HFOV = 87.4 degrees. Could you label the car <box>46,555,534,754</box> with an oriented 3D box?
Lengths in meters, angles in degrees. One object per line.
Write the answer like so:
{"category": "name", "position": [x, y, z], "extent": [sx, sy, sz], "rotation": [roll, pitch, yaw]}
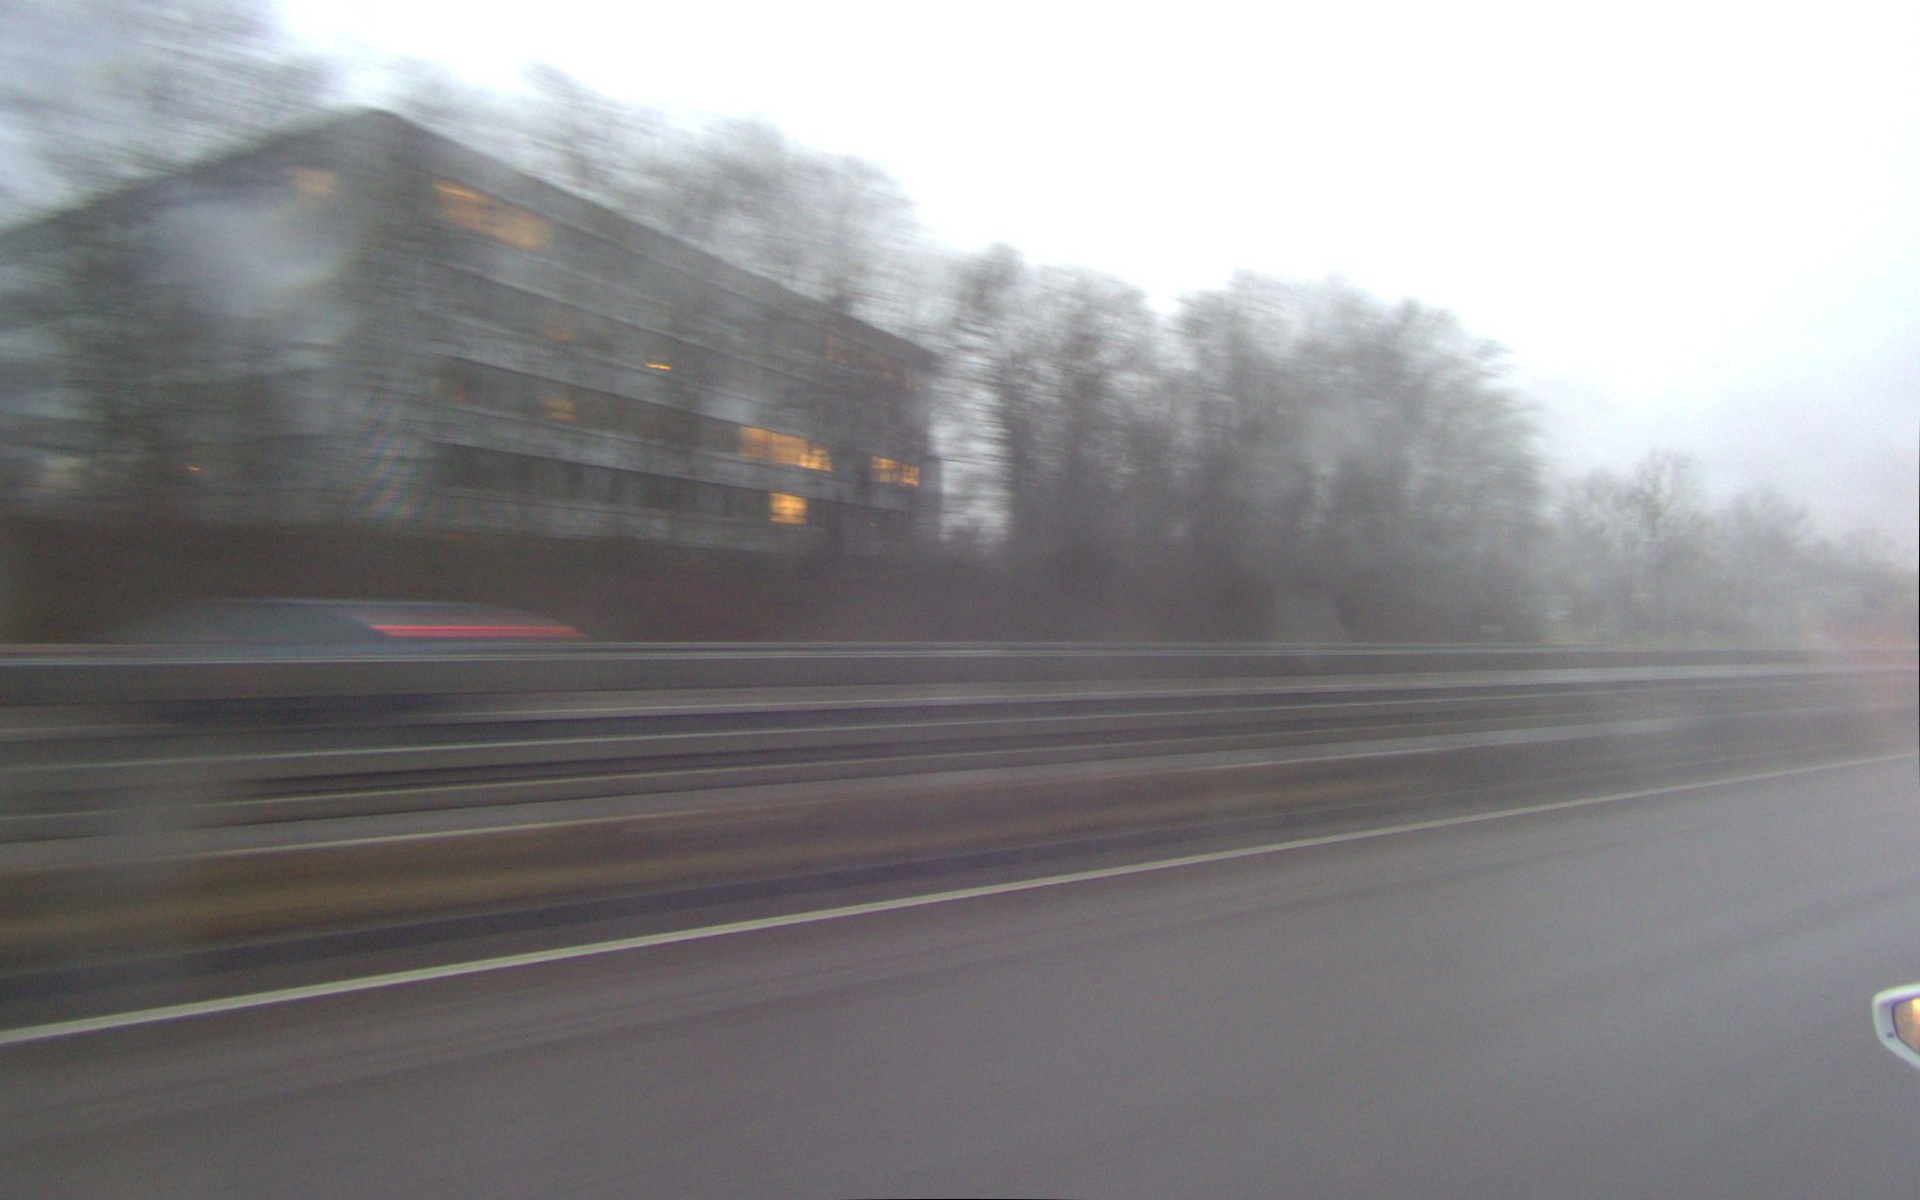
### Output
{"category": "car", "position": [-7.028, 0.507, 11.028], "extent": [4.157, 1.810, 1.636], "rotation": [1, 3, -30]}
